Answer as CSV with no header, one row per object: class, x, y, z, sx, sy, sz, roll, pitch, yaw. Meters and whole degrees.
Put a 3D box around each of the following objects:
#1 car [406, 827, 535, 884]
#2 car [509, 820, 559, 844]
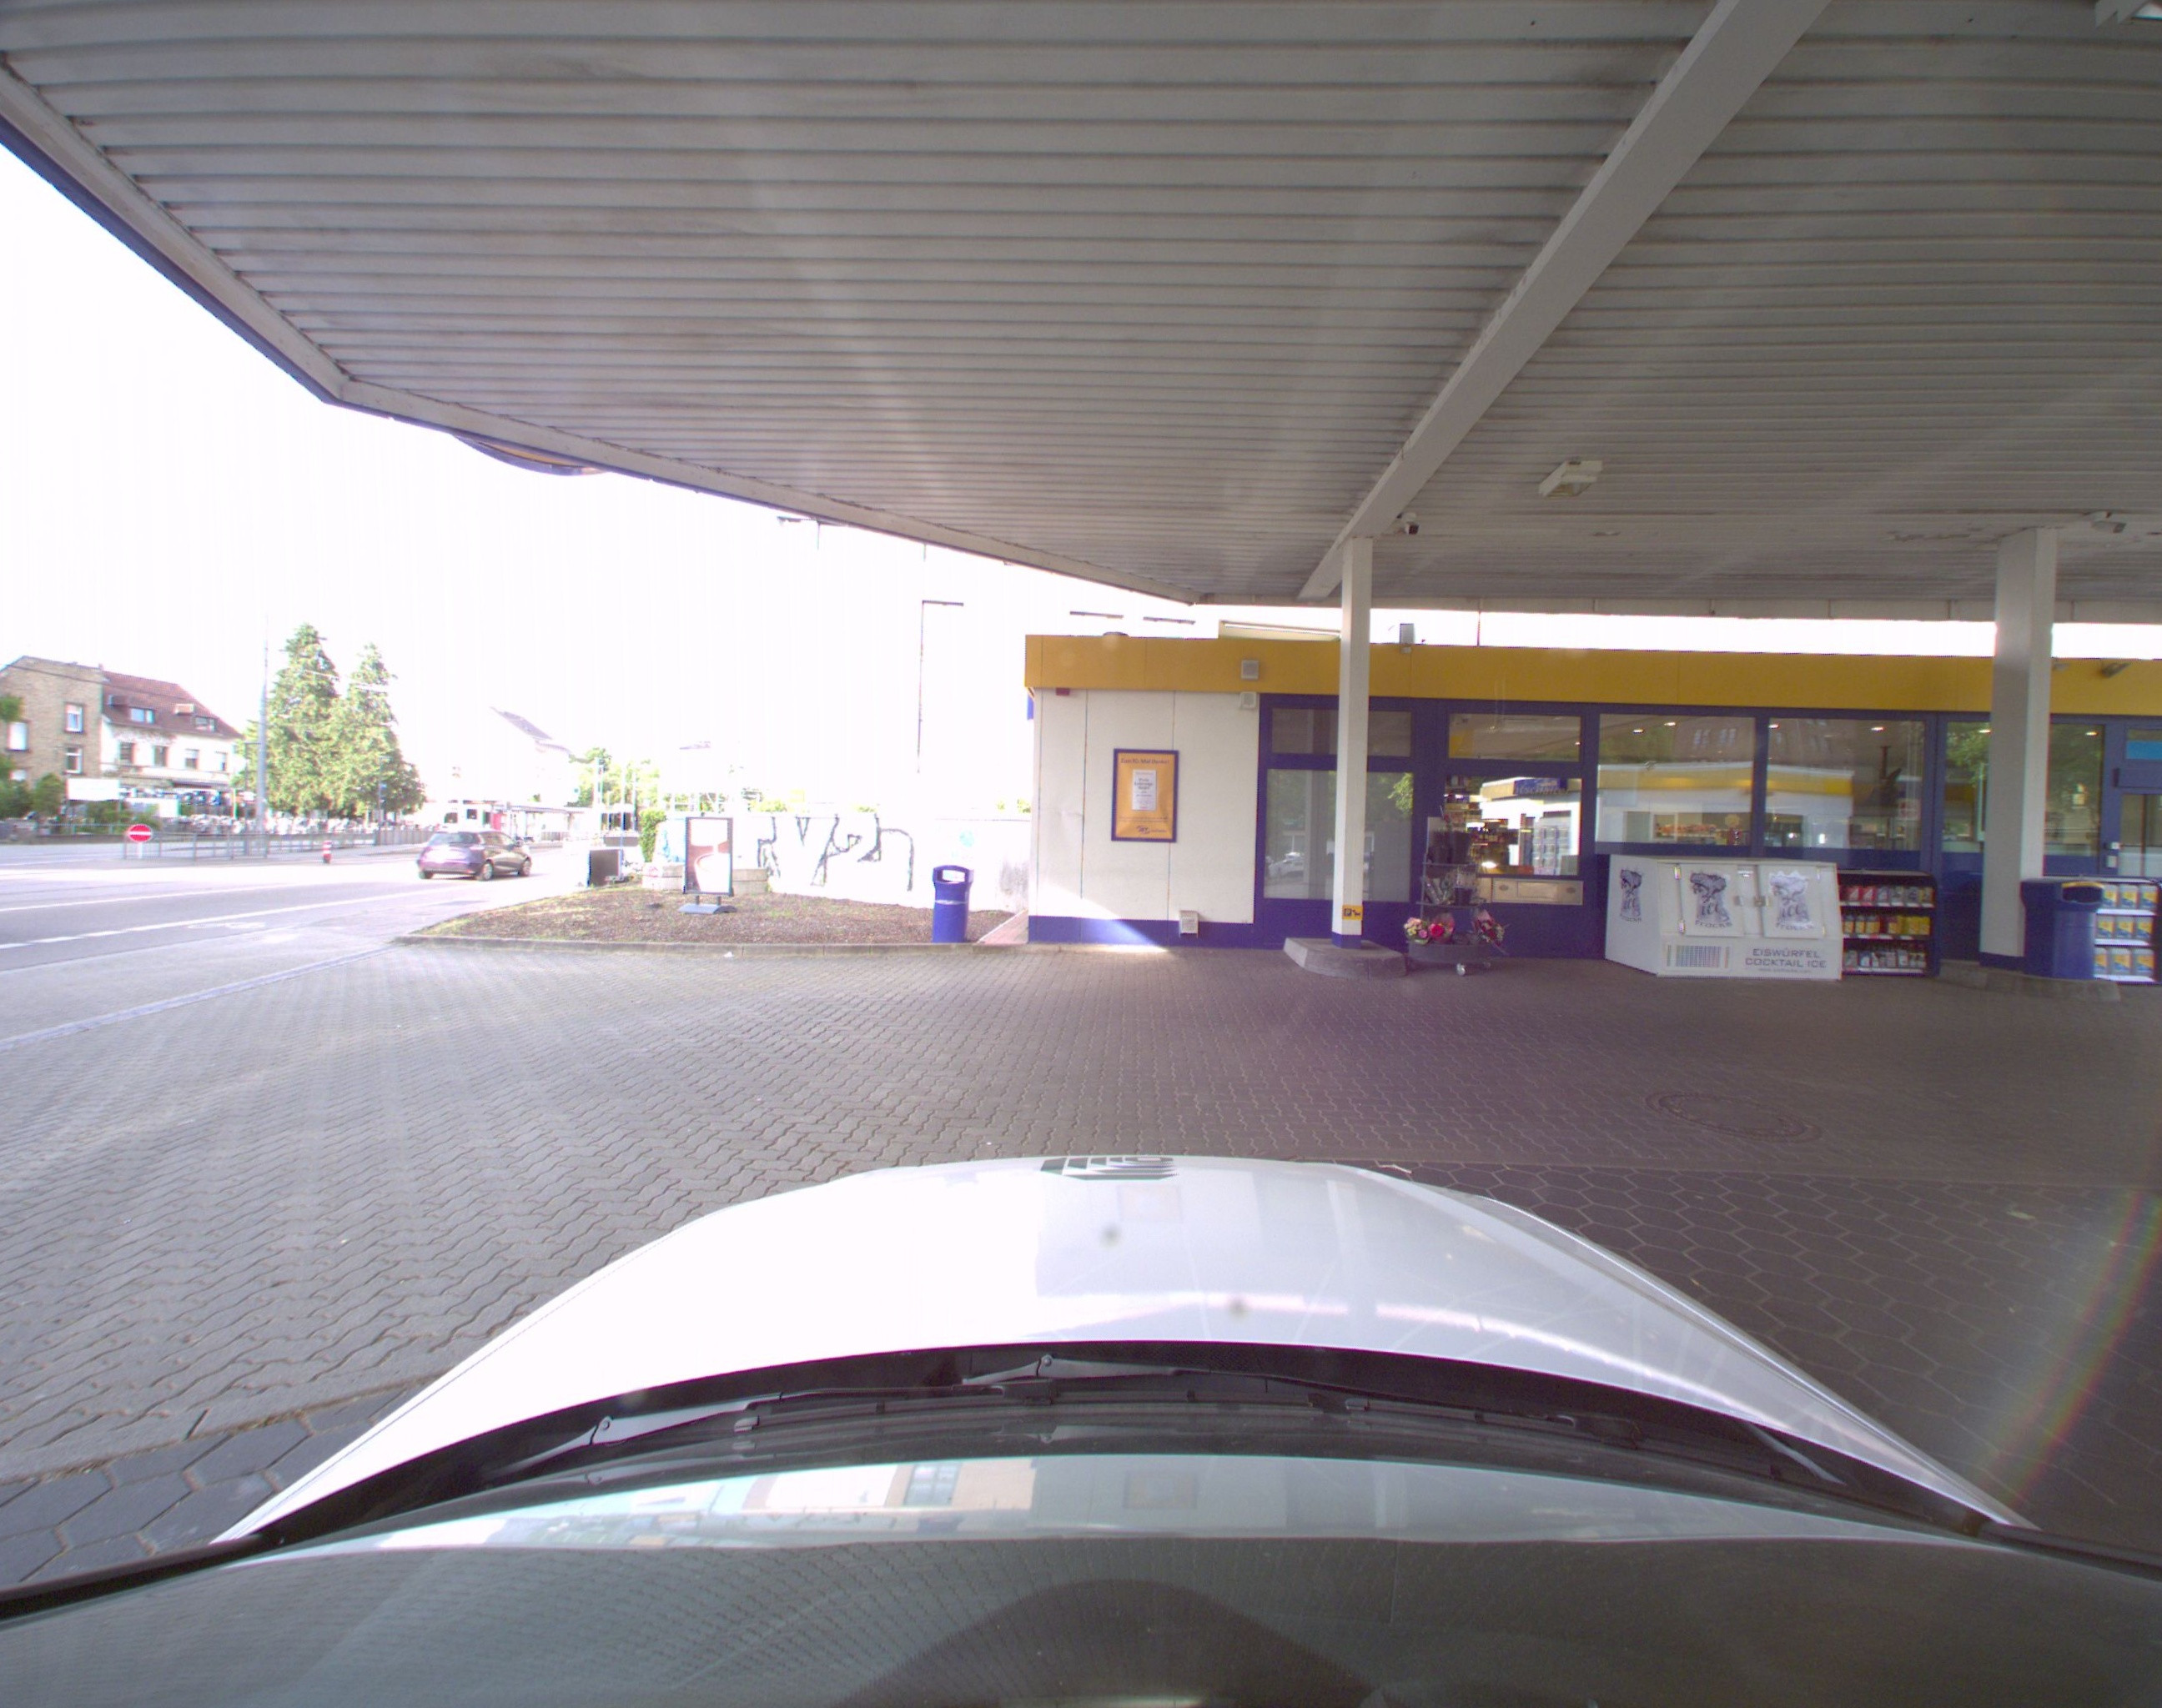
car,-18.629,-0.006,25.086,1.728,1.542,3.981,2,1,-15
car,-46.201,-1.852,68.885,1.964,1.889,4.393,1,0,-12
